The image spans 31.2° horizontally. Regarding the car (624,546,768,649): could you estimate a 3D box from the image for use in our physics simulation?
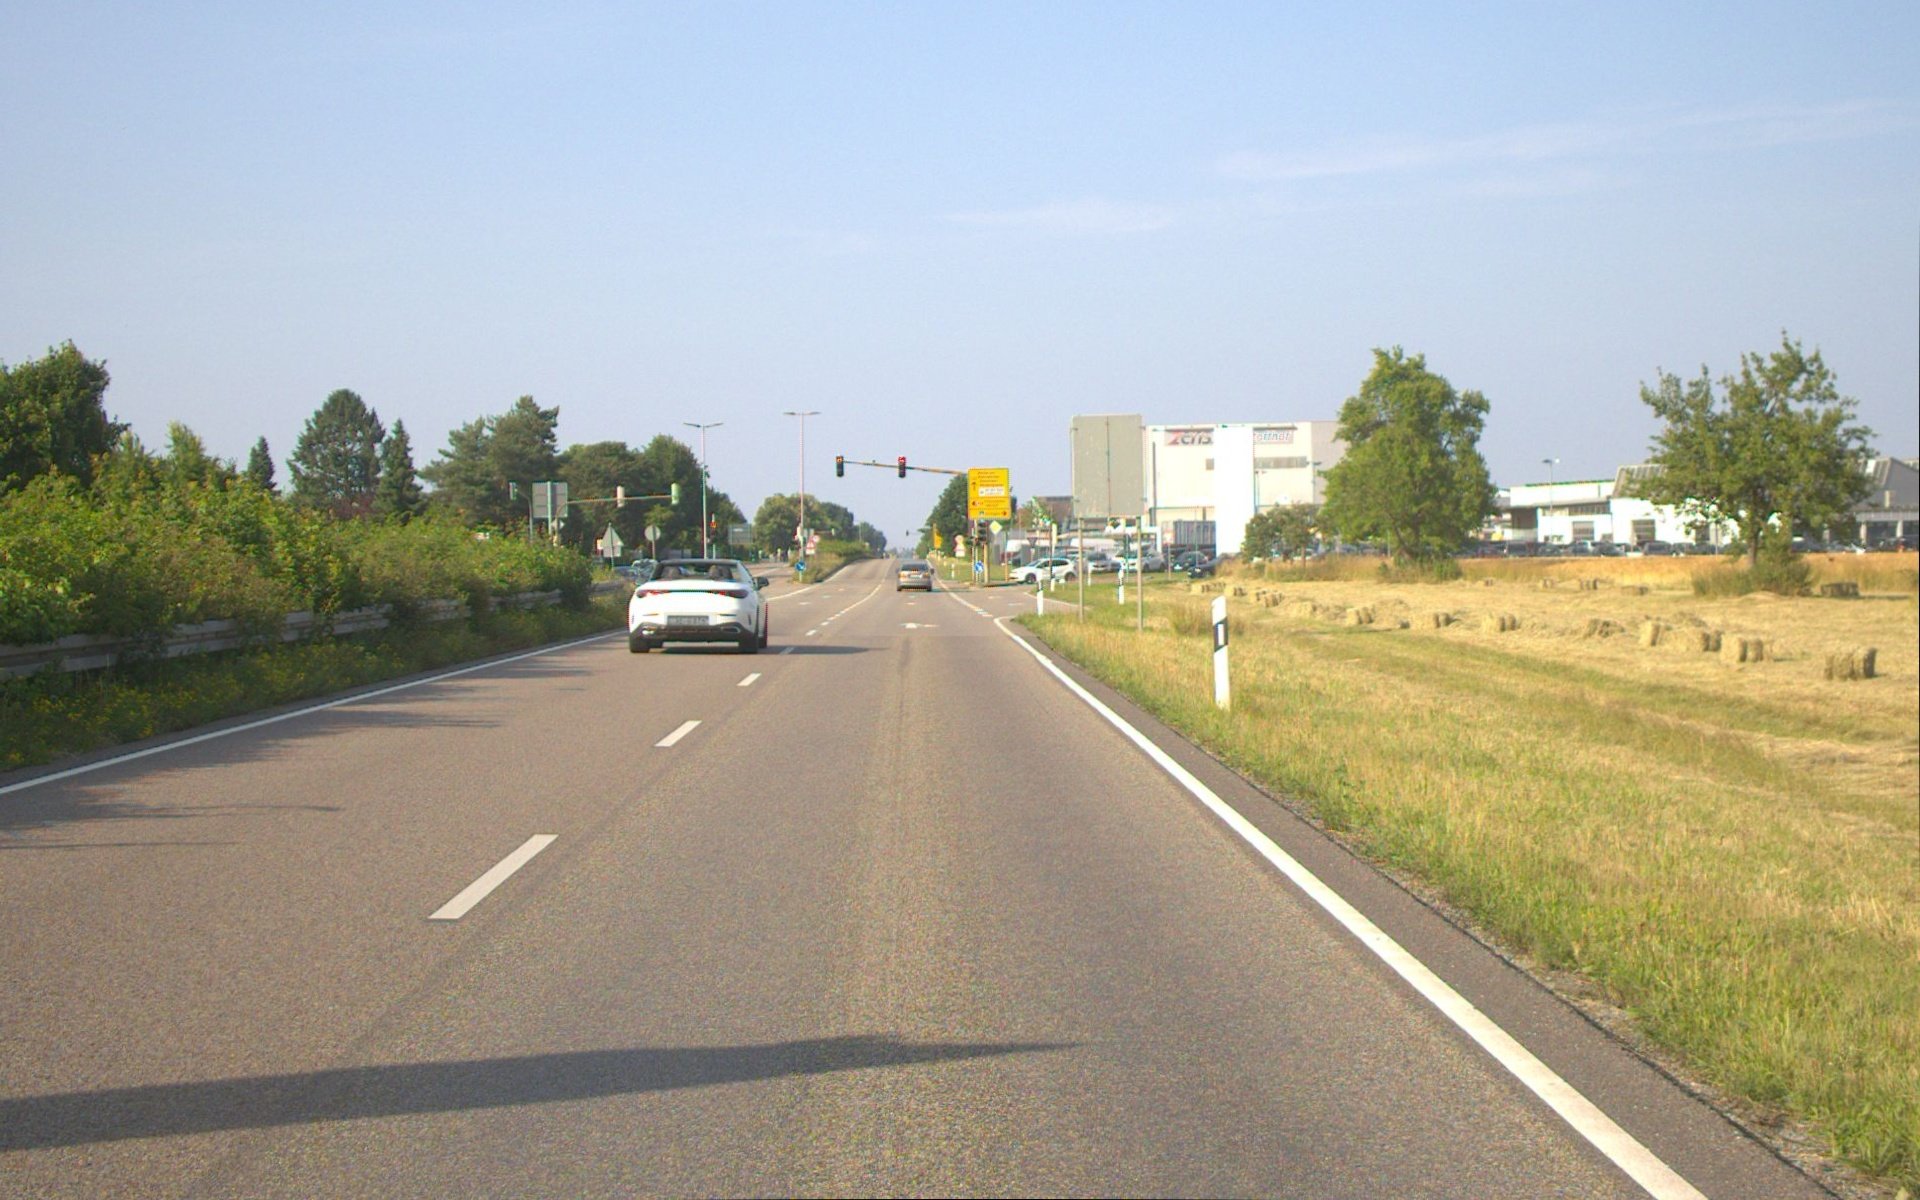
[{"bbox_3d":[-3.840,-0.067,50.616,1.909,1.417,4.000,0,1,-1],"label":"car"}]

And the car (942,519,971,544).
[{"bbox_3d":[-0.259,-4.855,243.976,1.993,1.751,4.000,0,1,1],"label":"car"}]

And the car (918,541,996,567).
[{"bbox_3d":[-0.170,-2.593,194.361,3.986,1.403,1.955,0,1,-20],"label":"car"}]

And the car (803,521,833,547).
[{"bbox_3d":[-10.062,-4.687,244.280,1.947,1.766,4.000,0,1,0],"label":"car"}]

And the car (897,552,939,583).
[{"bbox_3d":[-2.073,-1.592,169.071,1.993,1.481,4.000,0,1,-1],"label":"car"}]

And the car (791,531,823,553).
[{"bbox_3d":[-10.255,-3.882,230.321,1.947,1.403,4.000,0,1,0],"label":"car"}]

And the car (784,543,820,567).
[{"bbox_3d":[-9.445,-2.722,205.471,1.947,1.403,4.000,0,1,0],"label":"car"}]
